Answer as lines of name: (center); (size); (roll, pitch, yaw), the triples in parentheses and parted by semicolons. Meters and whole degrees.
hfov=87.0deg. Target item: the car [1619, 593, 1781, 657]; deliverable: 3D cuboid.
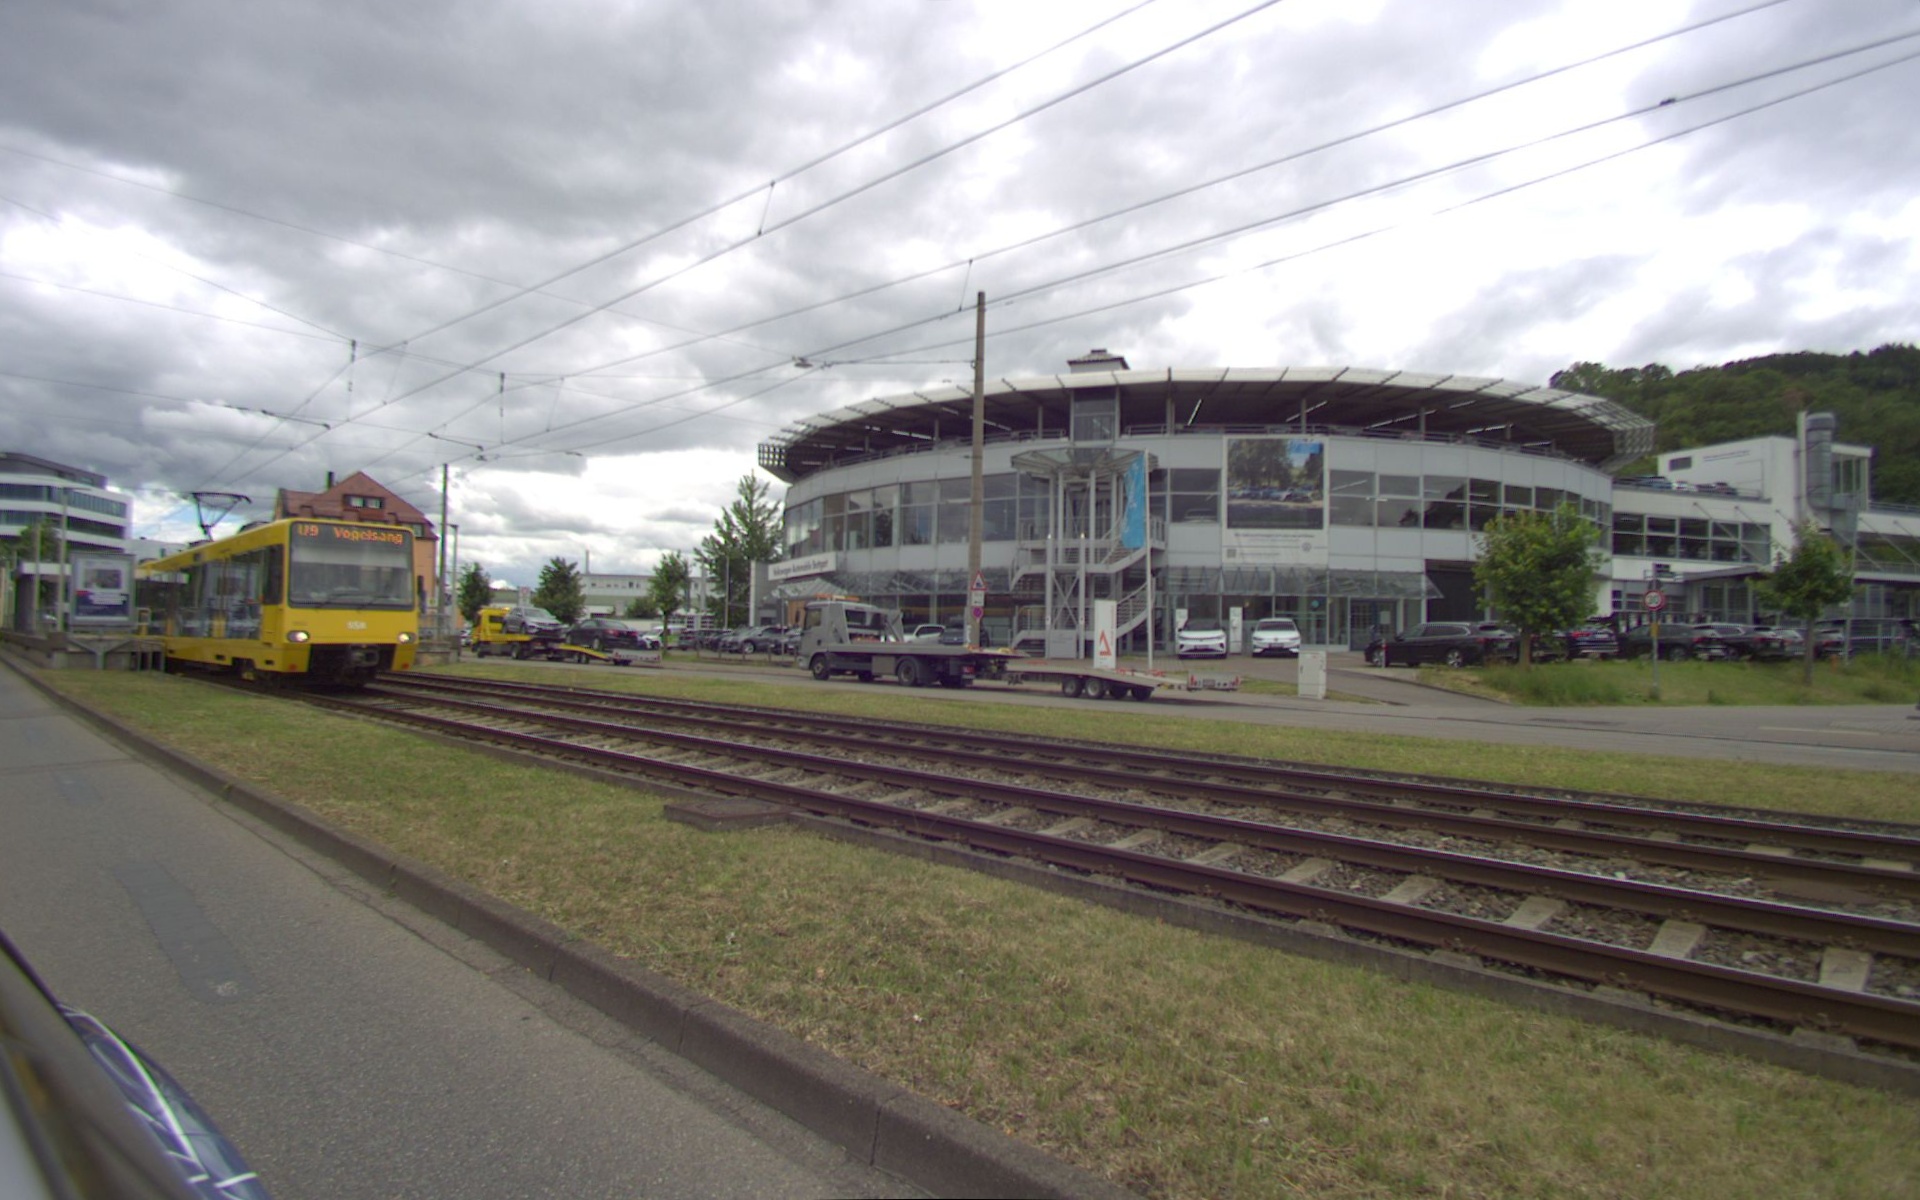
car: (24.963, 0.880, 34.330); (1.966, 2.029, 4.012); (1, -2, -18)

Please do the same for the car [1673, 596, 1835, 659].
car: (27.512, 0.977, 35.233); (1.966, 2.029, 4.012); (1, -2, -18)

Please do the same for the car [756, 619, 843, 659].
car: (-8.278, 2.034, 52.229); (3.933, 1.962, 2.005); (2, -3, -34)

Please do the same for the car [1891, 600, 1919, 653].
car: (37.740, 1.007, 37.688); (1.966, 2.029, 4.012); (1, -2, -18)

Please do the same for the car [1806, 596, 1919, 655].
car: (33.555, 0.944, 36.639); (1.966, 2.029, 4.012); (1, -2, -18)

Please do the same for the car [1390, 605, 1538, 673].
car: (15.947, 1.247, 32.275); (1.966, 2.029, 4.012); (1, -2, -18)

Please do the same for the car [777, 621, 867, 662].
car: (-6.808, 2.065, 49.984); (3.933, 1.962, 2.005); (2, -3, -34)

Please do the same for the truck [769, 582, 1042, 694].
truck: (-1.937, 1.199, 31.049); (8.965, 2.944, 3.072); (-2, -5, 45)

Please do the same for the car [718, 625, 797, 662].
car: (-11.279, 2.433, 56.334); (3.930, 1.962, 2.006); (2, -3, -24)

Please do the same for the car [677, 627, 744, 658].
car: (-16.417, 2.814, 66.609); (3.930, 1.962, 2.006); (1, -2, -23)

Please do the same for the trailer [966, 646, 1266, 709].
trailer: (3.711, 1.896, 25.363); (7.010, 1.287, 3.014); (-2, -5, 45)

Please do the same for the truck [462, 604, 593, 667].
truck: (-22.045, 1.791, 51.261); (3.014, 2.881, 9.072); (2, -3, -44)

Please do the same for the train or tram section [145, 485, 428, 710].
train or tram section: (-17.752, 0.051, 25.608); (3.347, 4.037, 16.962); (0, -1, -43)

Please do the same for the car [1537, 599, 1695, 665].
car: (21.495, 1.078, 33.362); (1.966, 2.029, 4.012); (1, -2, -18)

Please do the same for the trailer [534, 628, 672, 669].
trailer: (-16.123, 2.134, 45.378); (2.943, 1.701, 7.573); (2, -3, -44)

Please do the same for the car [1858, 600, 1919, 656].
car: (35.760, 1.046, 36.925); (1.966, 2.029, 4.012); (1, -2, -18)

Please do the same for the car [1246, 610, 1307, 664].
car: (12.577, 1.466, 40.439); (1.980, 2.029, 3.984); (0, -2, 12)

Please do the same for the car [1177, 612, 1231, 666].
car: (9.636, 1.545, 40.250); (1.980, 2.029, 3.984); (0, -2, 12)

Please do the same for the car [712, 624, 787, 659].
car: (-12.247, 2.418, 58.833); (3.930, 1.962, 2.006); (1, -2, -23)

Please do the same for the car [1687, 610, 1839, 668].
car: (30.034, 1.459, 38.013); (1.966, 2.029, 4.012); (1, -2, -18)

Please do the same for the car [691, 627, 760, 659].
car: (-14.768, 2.729, 63.731); (3.930, 1.962, 2.006); (1, -2, -23)

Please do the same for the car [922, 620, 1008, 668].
car: (0.263, 1.910, 43.894); (1.993, 1.962, 3.957); (-1, -3, 31)

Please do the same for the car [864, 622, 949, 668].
car: (-2.387, 2.045, 46.131); (1.993, 1.962, 3.957); (-1, -3, 31)

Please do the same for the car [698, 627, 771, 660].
car: (-13.645, 2.644, 61.229); (3.930, 1.962, 2.006); (1, -2, -23)

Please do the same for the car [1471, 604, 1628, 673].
car: (18.667, 1.222, 32.255); (1.966, 2.029, 4.012); (1, -2, -18)
